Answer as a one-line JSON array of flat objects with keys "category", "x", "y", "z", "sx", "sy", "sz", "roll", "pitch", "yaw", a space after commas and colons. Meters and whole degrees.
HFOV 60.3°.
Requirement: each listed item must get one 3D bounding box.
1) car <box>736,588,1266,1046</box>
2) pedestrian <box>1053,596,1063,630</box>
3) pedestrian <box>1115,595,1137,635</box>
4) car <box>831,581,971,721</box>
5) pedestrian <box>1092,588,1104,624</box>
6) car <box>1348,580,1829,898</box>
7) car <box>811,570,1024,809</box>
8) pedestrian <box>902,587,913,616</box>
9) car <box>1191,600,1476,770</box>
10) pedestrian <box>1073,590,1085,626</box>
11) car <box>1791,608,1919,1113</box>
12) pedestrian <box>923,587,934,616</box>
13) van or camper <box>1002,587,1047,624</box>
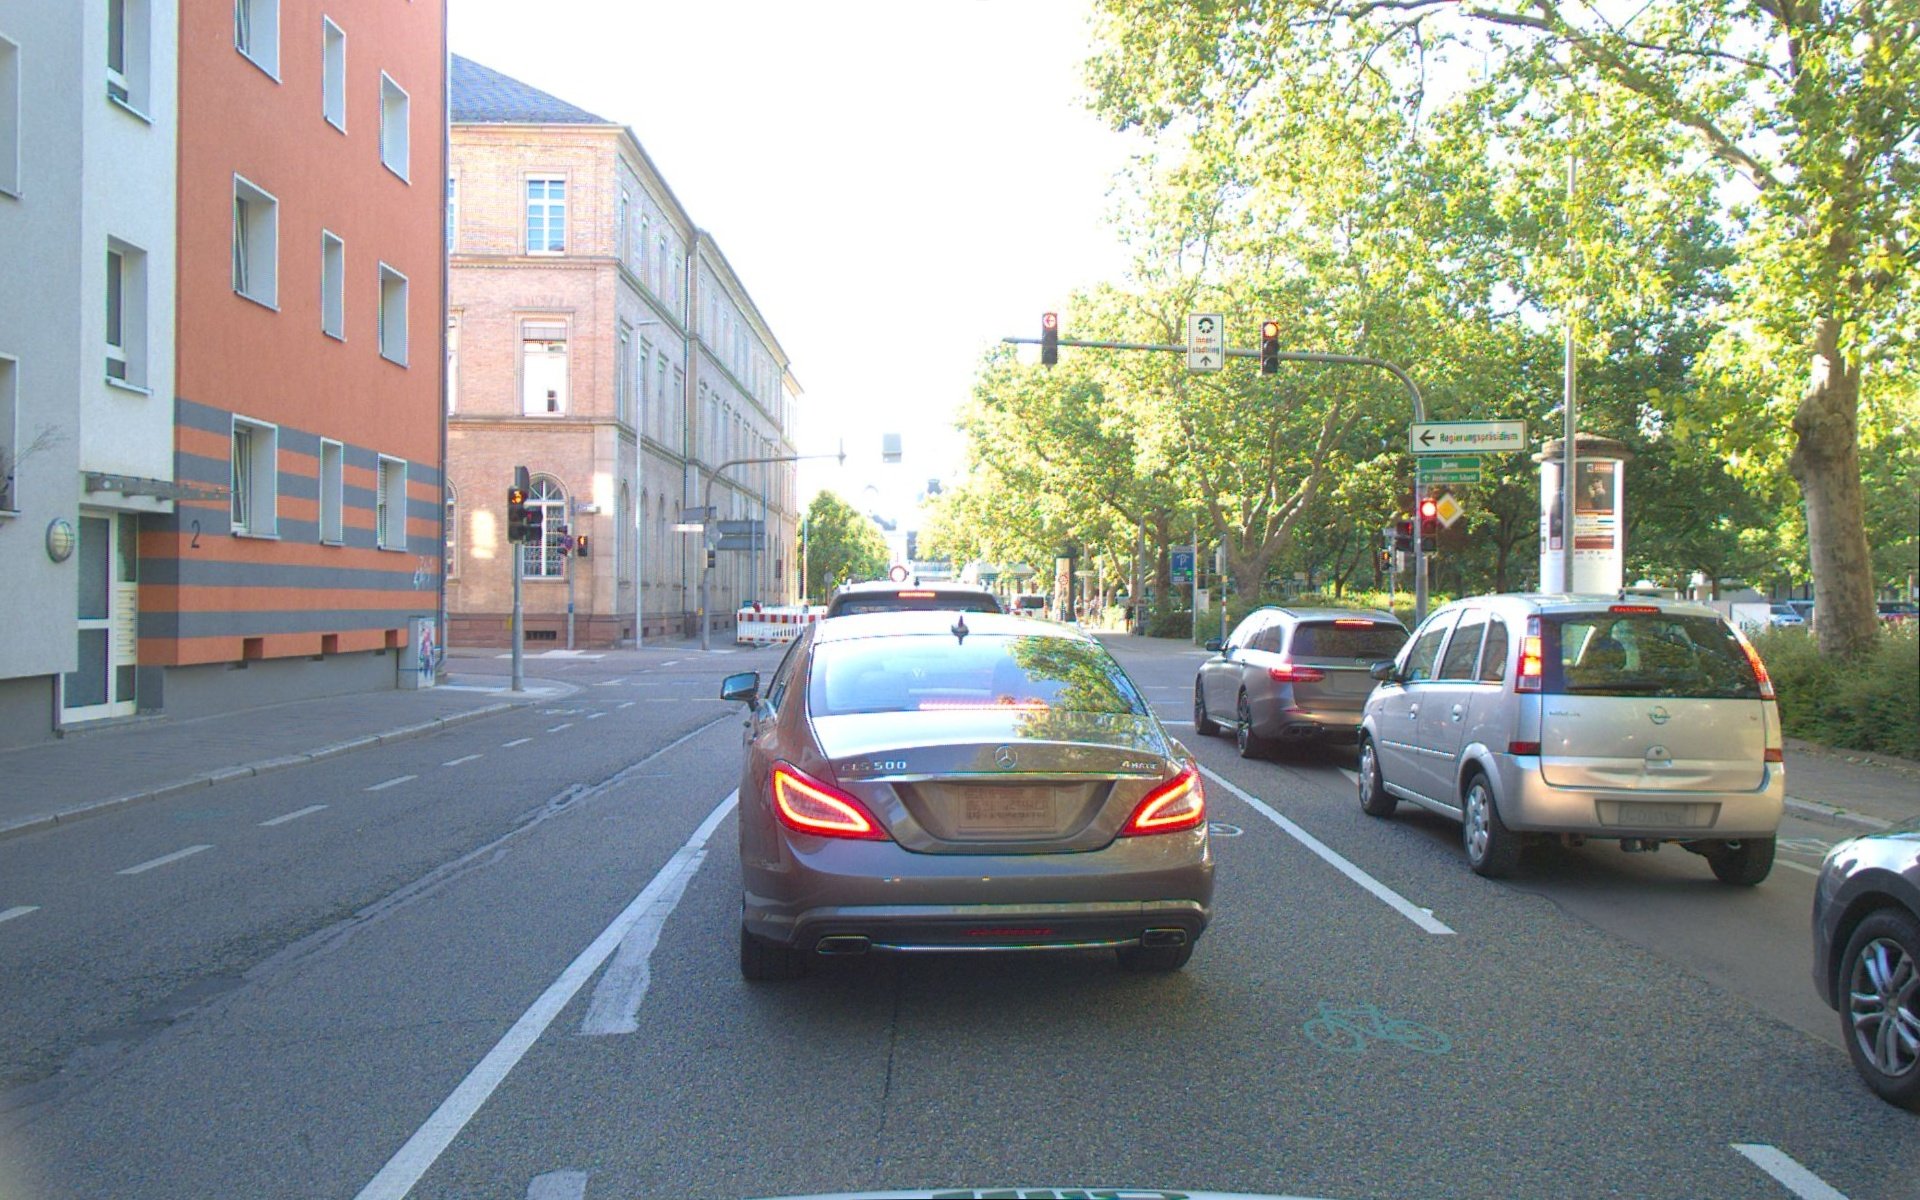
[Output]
[{"category": "car", "x": -0.133, "y": 0.700, "z": 7.630, "sx": 1.769, "sy": 1.482, "sz": 4.343, "roll": 1, "pitch": 0, "yaw": -8}, {"category": "pedestrian", "x": 5.916, "y": 0.790, "z": 99.640, "sx": 0.528, "sy": 2.049, "sz": 0.473, "roll": 1, "pitch": -1, "yaw": -1}, {"category": "pedestrian", "x": 6.901, "y": 0.604, "z": 68.719, "sx": 0.813, "sy": 1.634, "sz": 0.651, "roll": 1, "pitch": 0, "yaw": -1}, {"category": "car", "x": -0.783, "y": 0.646, "z": 23.215, "sx": 1.783, "sy": 1.793, "sz": 3.999, "roll": 0, "pitch": 0, "yaw": -1}, {"category": "pedestrian", "x": 7.244, "y": 0.324, "z": 86.780, "sx": 0.591, "sy": 1.853, "sz": 0.651, "roll": 1, "pitch": 0, "yaw": -1}, {"category": "car", "x": 3.798, "y": 0.732, "z": 10.735, "sx": 1.666, "sy": 1.631, "sz": 3.860, "roll": 2, "pitch": 0, "yaw": 1}, {"category": "car", "x": -0.392, "y": 0.632, "z": 13.656, "sx": 1.487, "sy": 1.675, "sz": 3.878, "roll": 1, "pitch": 0, "yaw": -3}, {"category": "pedestrian", "x": -3.768, "y": 0.094, "z": 118.878, "sx": 0.710, "sy": 2.049, "sz": 0.748, "roll": 1, "pitch": 0, "yaw": -5}, {"category": "car", "x": 3.757, "y": 0.784, "z": 17.507, "sx": 1.874, "sy": 1.490, "sz": 4.668, "roll": 2, "pitch": 0, "yaw": -1}, {"category": "pedestrian", "x": 6.245, "y": 0.410, "z": 86.937, "sx": 0.591, "sy": 1.853, "sz": 0.651, "roll": 1, "pitch": 0, "yaw": -1}, {"category": "car", "x": 3.724, "y": 0.817, "z": 3.735, "sx": 1.611, "sy": 1.508, "sz": 3.975, "roll": 2, "pitch": 0, "yaw": -1}, {"category": "pedestrian", "x": -2.247, "y": 0.110, "z": 118.763, "sx": 0.710, "sy": 2.049, "sz": 0.748, "roll": 1, "pitch": 0, "yaw": -5}, {"category": "van or camper", "x": 3.592, "y": 0.303, "z": 92.770, "sx": 1.955, "sy": 1.975, "sz": 4.589, "roll": 1, "pitch": 0, "yaw": -5}]
